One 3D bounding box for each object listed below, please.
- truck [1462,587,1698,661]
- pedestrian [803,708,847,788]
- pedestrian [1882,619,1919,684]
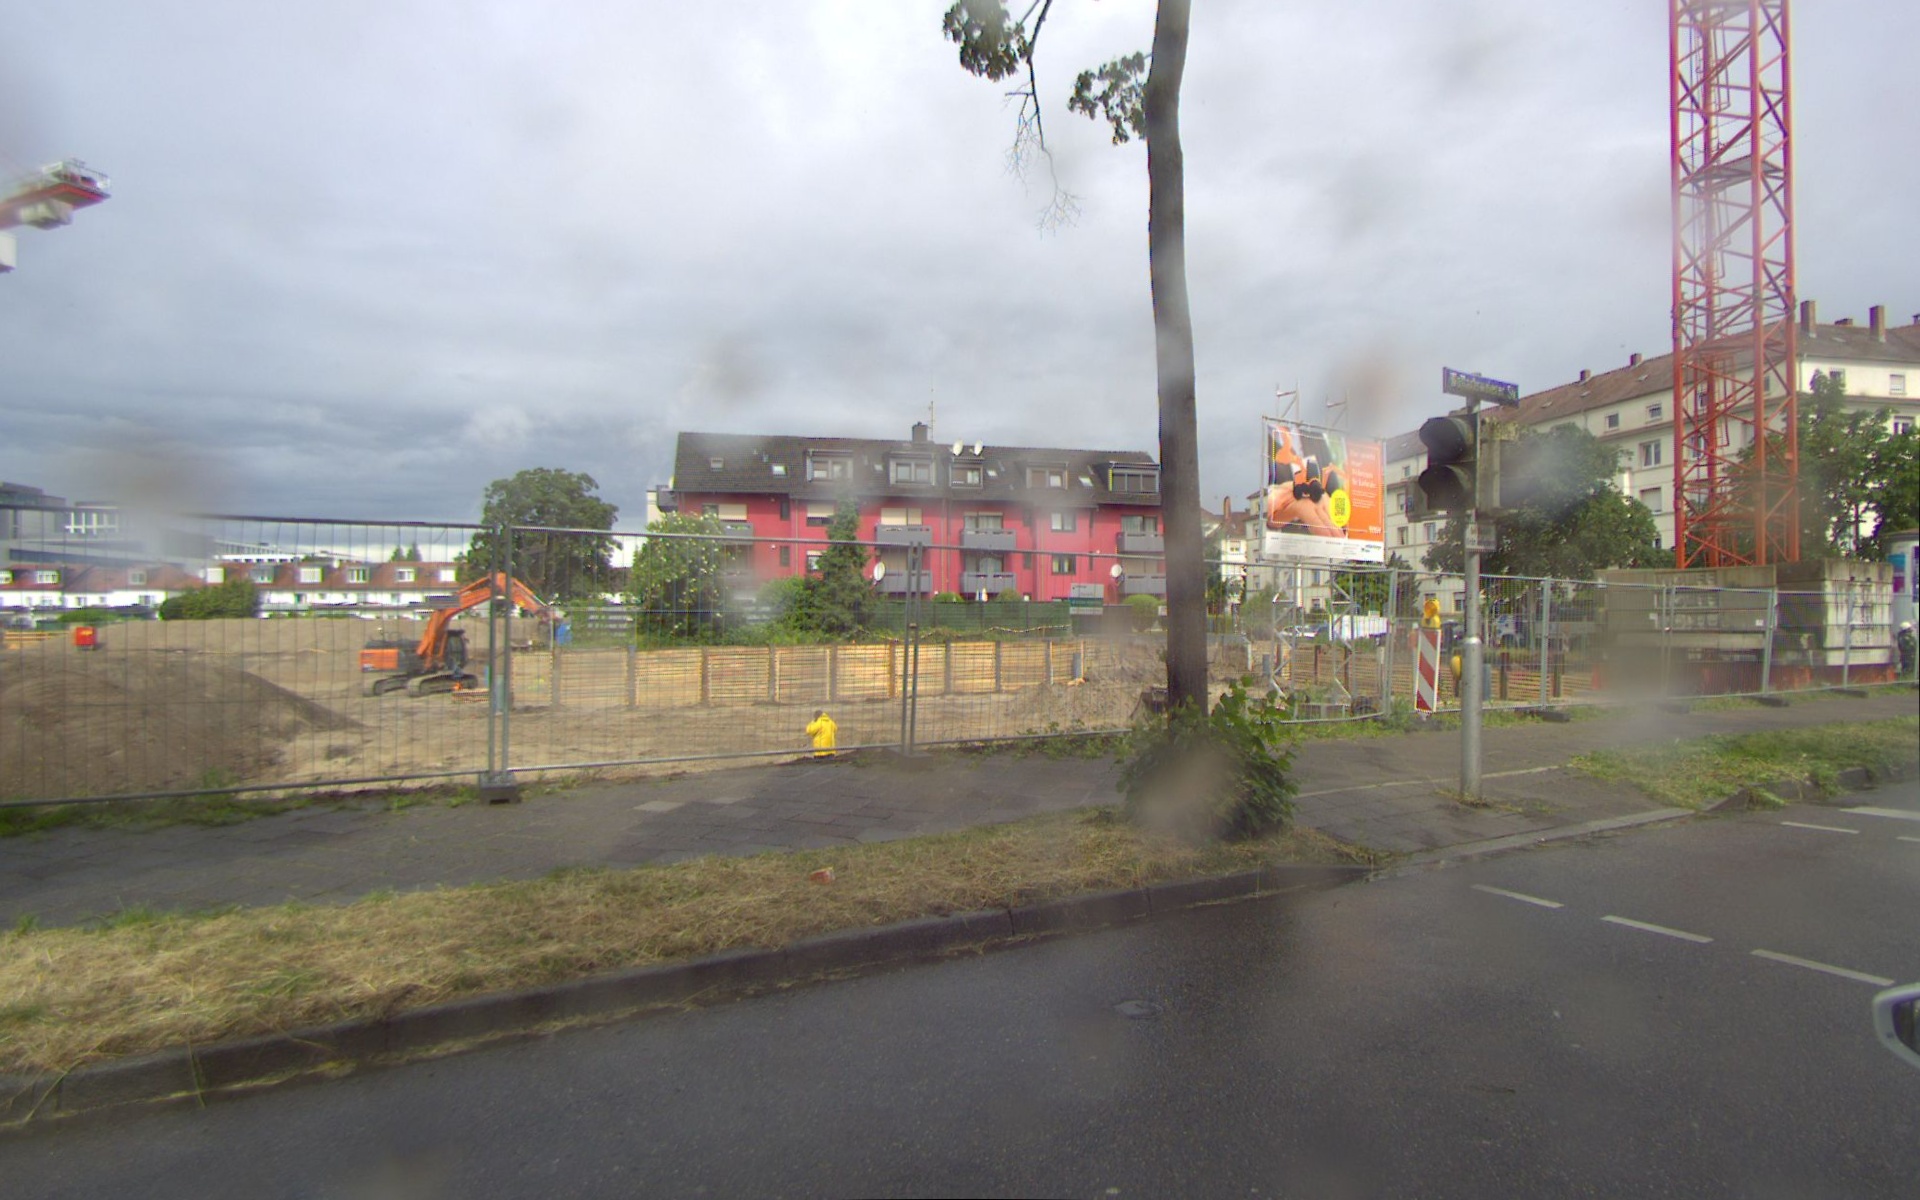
[{"bbox_3d":[29.710,1.229,48.950,3.730,3.226,9.813,0,-2,-16],"label":"truck"},{"bbox_3d":[-3.055,3.322,22.641,0.837,1.706,0.585,1,-4,-25],"label":"pedestrian"},{"bbox_3d":[24.595,1.321,26.112,0.710,1.651,0.684,1,0,23],"label":"pedestrian"}]
